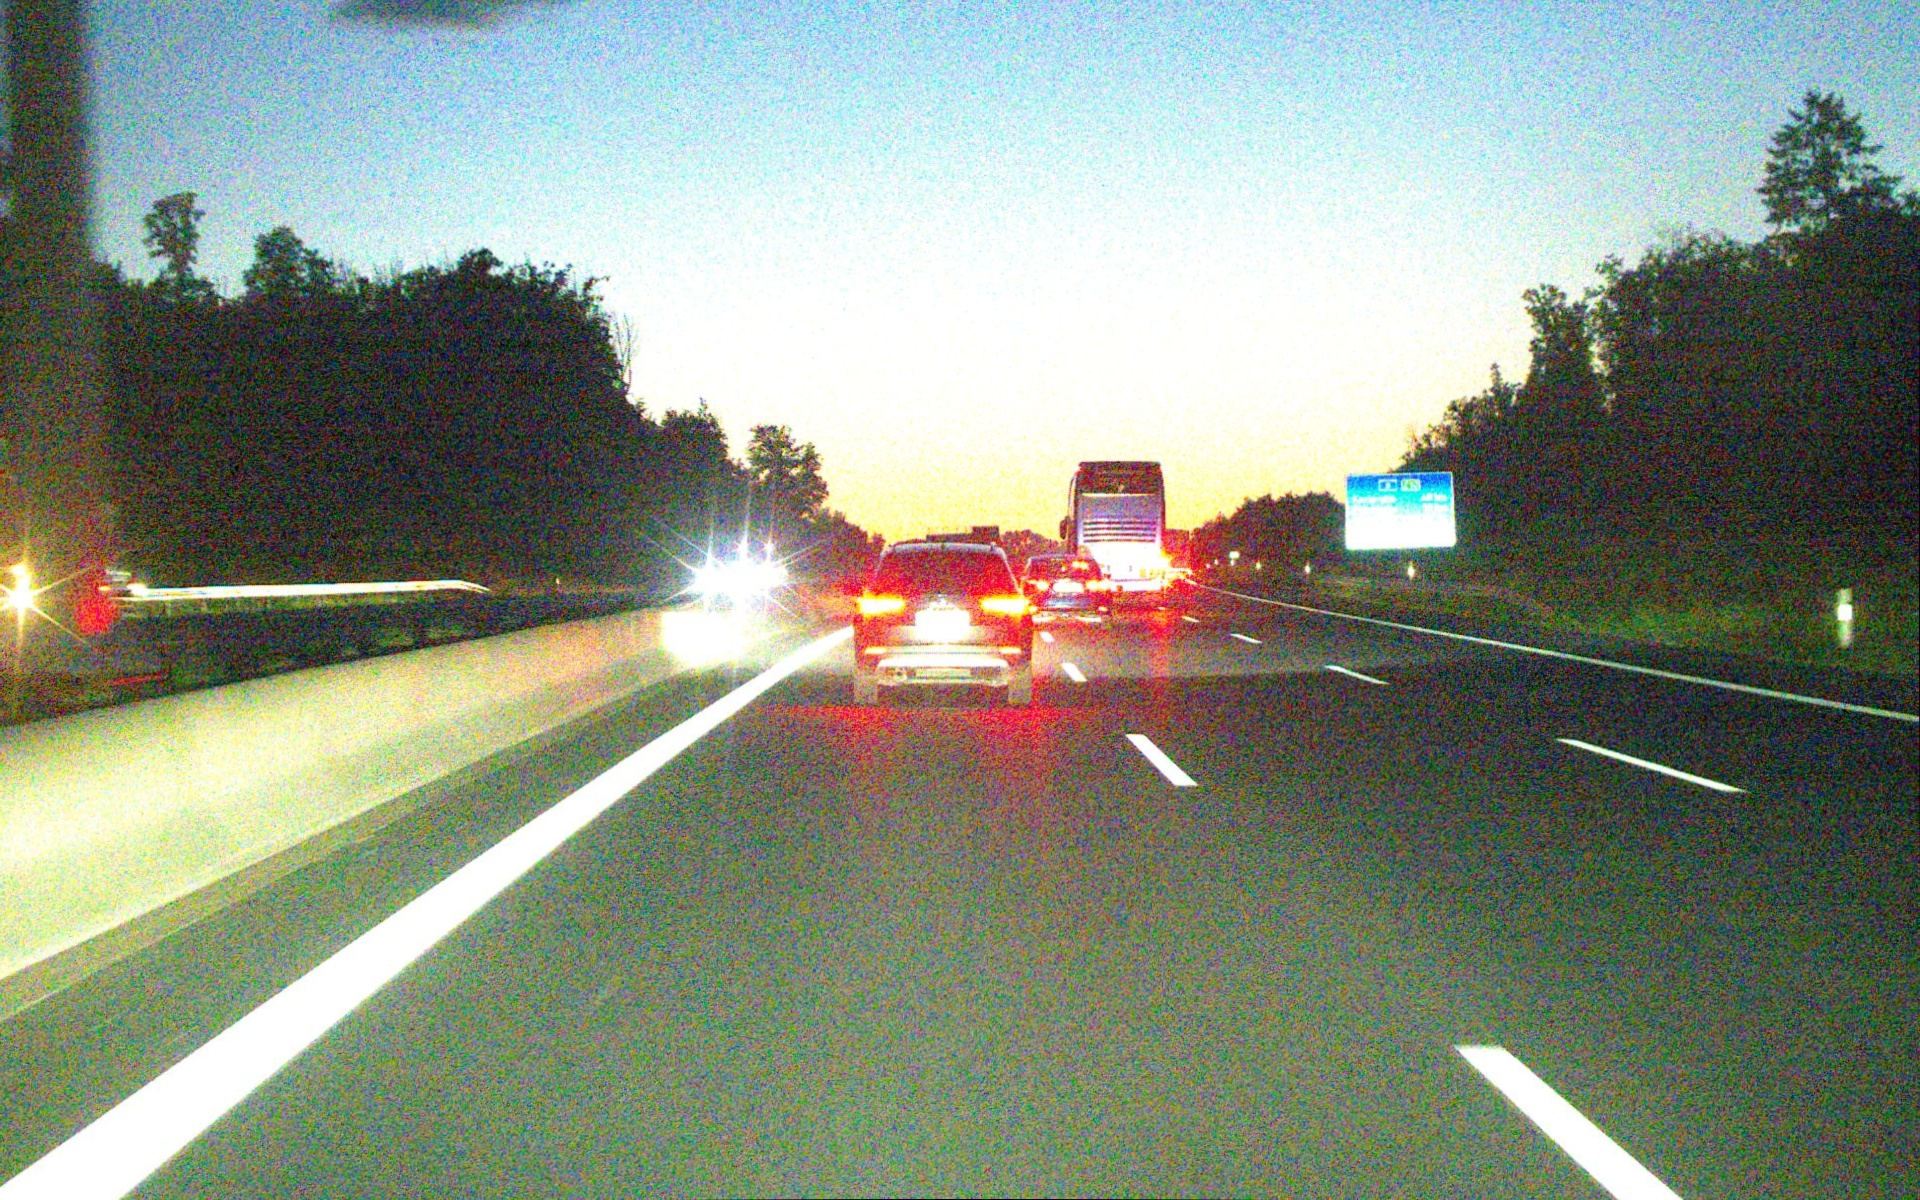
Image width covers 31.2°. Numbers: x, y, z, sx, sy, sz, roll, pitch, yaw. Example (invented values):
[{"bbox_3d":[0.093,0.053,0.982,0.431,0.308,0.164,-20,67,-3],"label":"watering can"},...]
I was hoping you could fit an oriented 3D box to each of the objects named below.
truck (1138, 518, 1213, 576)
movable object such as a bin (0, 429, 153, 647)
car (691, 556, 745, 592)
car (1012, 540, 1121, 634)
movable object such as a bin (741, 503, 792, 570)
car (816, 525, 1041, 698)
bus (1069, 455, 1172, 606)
[{"bbox_3d":[11.616,-2.885,186.000,2.545,3.005,9.055,1,1,-6],"label":"truck"},{"bbox_3d":[-15.472,-1.023,57.486,2.207,3.405,7.437,0,1,0],"label":"movable object such as a bin"},{"bbox_3d":[-10.115,-1.090,143.719,1.933,1.448,4.454,0,1,0],"label":"car"},{"bbox_3d":[2.077,-0.237,68.201,1.911,1.724,4.000,3,-1,-1],"label":"car"},{"bbox_3d":[-11.054,-3.642,197.081,2.293,3.756,7.686,0,1,2],"label":"movable object such as a bin"},{"bbox_3d":[-0.389,0.134,35.056,2.105,1.612,4.204,1,-1,-3],"label":"car"},{"bbox_3d":[4.623,-1.876,100.798,2.652,3.980,14.700,-2,0,2],"label":"bus"}]
